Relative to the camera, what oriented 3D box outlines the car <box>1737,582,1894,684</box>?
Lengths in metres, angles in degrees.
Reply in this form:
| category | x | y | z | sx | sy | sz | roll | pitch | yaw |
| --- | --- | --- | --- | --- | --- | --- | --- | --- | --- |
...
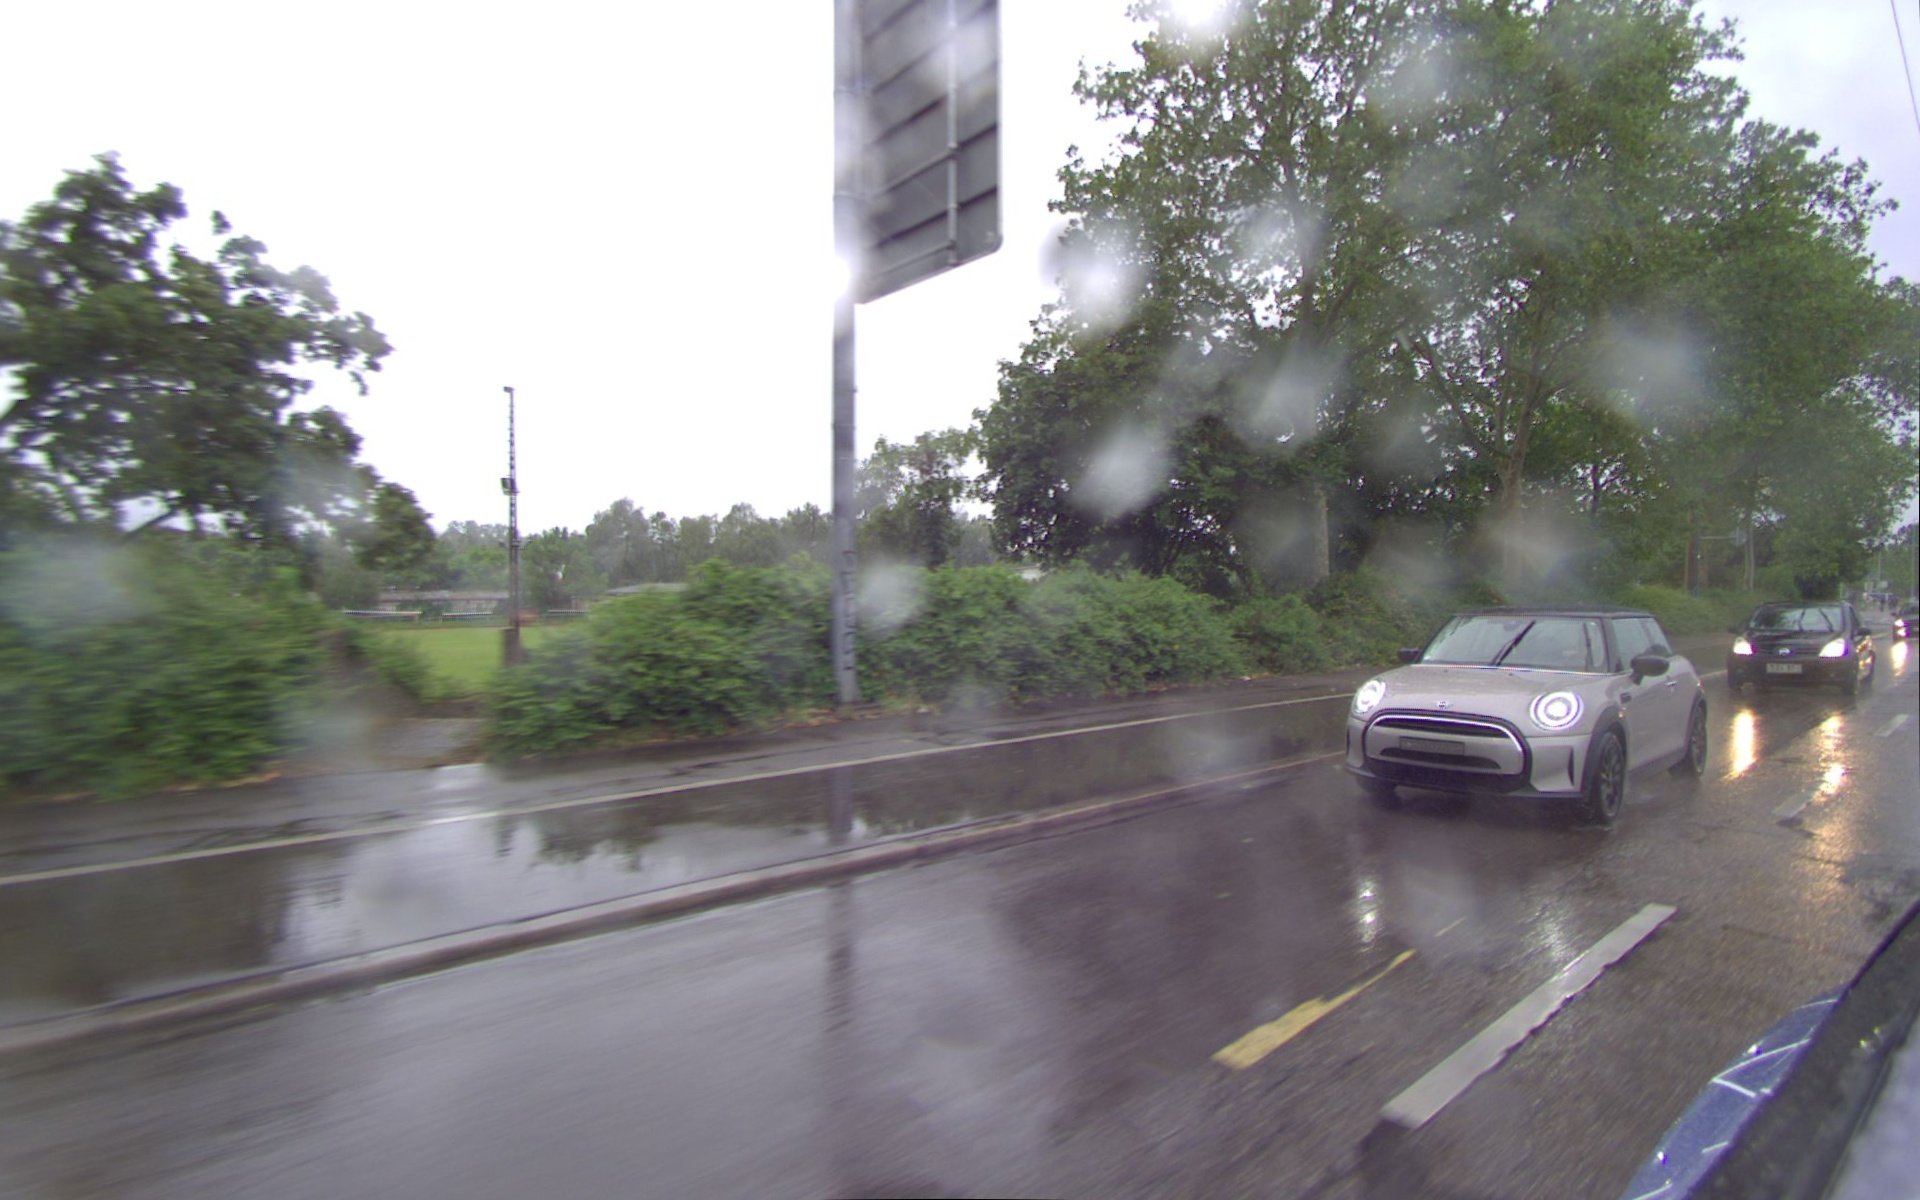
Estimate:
| category | x | y | z | sx | sy | sz | roll | pitch | yaw |
| --- | --- | --- | --- | --- | --- | --- | --- | --- | --- |
| car | 14.030 | 0.500 | 16.802 | 1.767 | 1.480 | 4.036 | 0 | -1 | 37 |

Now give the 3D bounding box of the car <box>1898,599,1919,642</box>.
| category | x | y | z | sx | sy | sz | roll | pitch | yaw |
| --- | --- | --- | --- | --- | --- | --- | --- | --- | --- |
| car | 35.804 | 0.758 | 37.116 | 3.973 | 1.504 | 1.713 | 1 | -1 | -42 |

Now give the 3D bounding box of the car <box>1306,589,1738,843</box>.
| category | x | y | z | sx | sy | sz | roll | pitch | yaw |
| --- | --- | --- | --- | --- | --- | --- | --- | --- | --- |
| car | 4.479 | 0.656 | 7.842 | 3.788 | 1.431 | 1.794 | -1 | 1 | -42 |

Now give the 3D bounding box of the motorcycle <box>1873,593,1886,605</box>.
| category | x | y | z | sx | sy | sz | roll | pitch | yaw |
| --- | --- | --- | --- | --- | --- | --- | --- | --- | --- |
| motorcycle | 99.890 | -0.099 | 109.922 | 1.419 | 1.233 | 0.635 | 1 | 1 | -30 |
